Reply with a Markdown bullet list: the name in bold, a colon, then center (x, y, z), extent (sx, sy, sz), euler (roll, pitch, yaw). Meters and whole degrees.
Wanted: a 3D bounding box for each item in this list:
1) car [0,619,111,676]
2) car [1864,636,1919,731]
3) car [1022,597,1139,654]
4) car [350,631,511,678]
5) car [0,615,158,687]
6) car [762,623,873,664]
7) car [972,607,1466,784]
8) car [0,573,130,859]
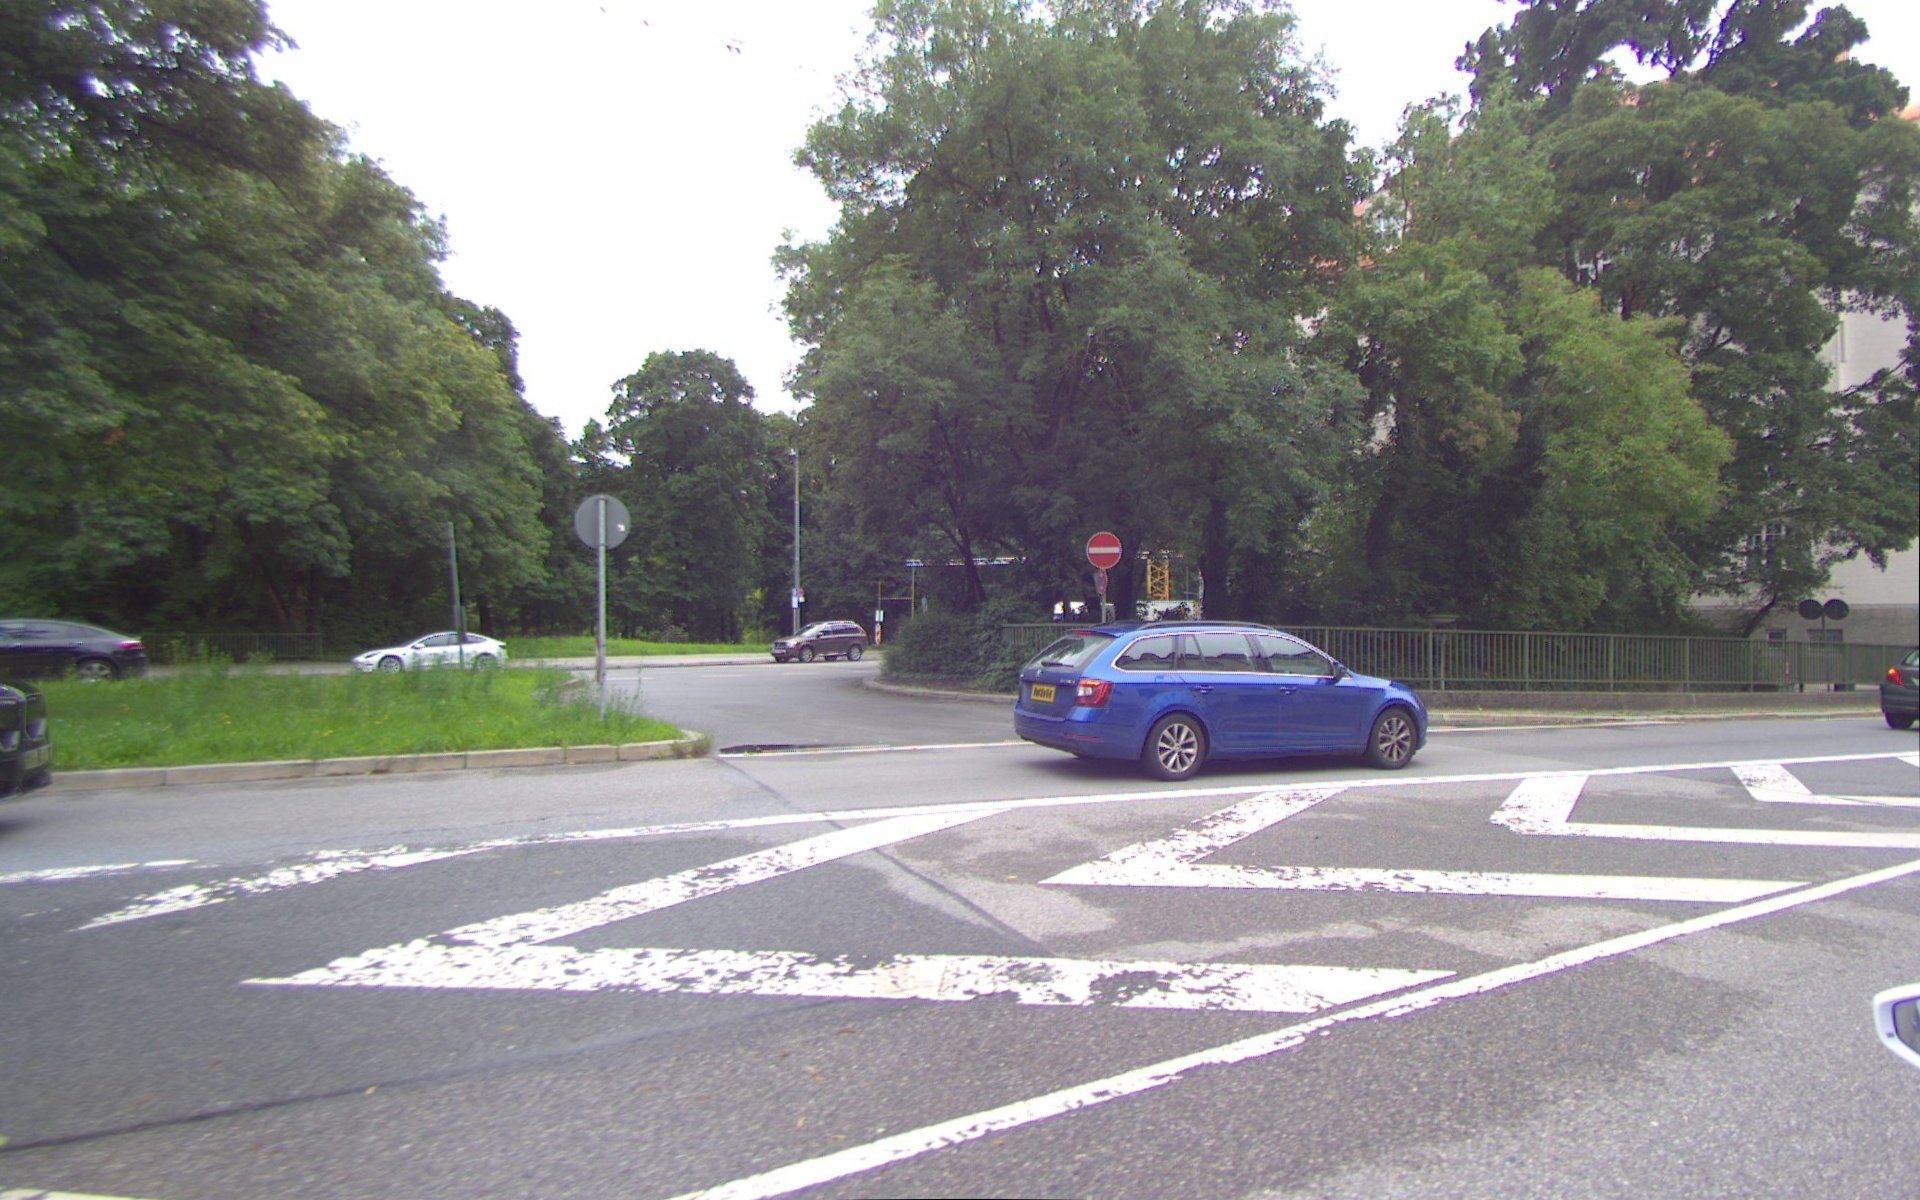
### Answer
- **car**: center (-25.363, 1.264, 26.530), extent (4.392, 1.465, 1.975), euler (2, -4, -43)
- **car**: center (16.790, 1.330, 16.222), extent (4.017, 1.480, 1.755), euler (1, -2, -24)
- **car**: center (5.237, 1.130, 43.064), extent (5.092, 2.299, 2.279), euler (2, -3, -43)
- **car**: center (-17.558, 1.788, 33.447), extent (4.392, 1.465, 1.975), euler (2, -4, -43)
- **car**: center (-19.913, 1.070, 21.265), extent (1.871, 1.465, 4.365), euler (-2, -3, 42)
- **car**: center (-6.308, 1.957, 44.813), extent (4.616, 1.740, 1.975), euler (2, -3, -43)
- **car**: center (2.642, 0.871, 10.228), extent (4.668, 1.473, 1.983), euler (1, -2, -24)
- **car**: center (-7.909, 0.663, 5.510), extent (4.763, 1.607, 1.909), euler (1, -4, -24)
